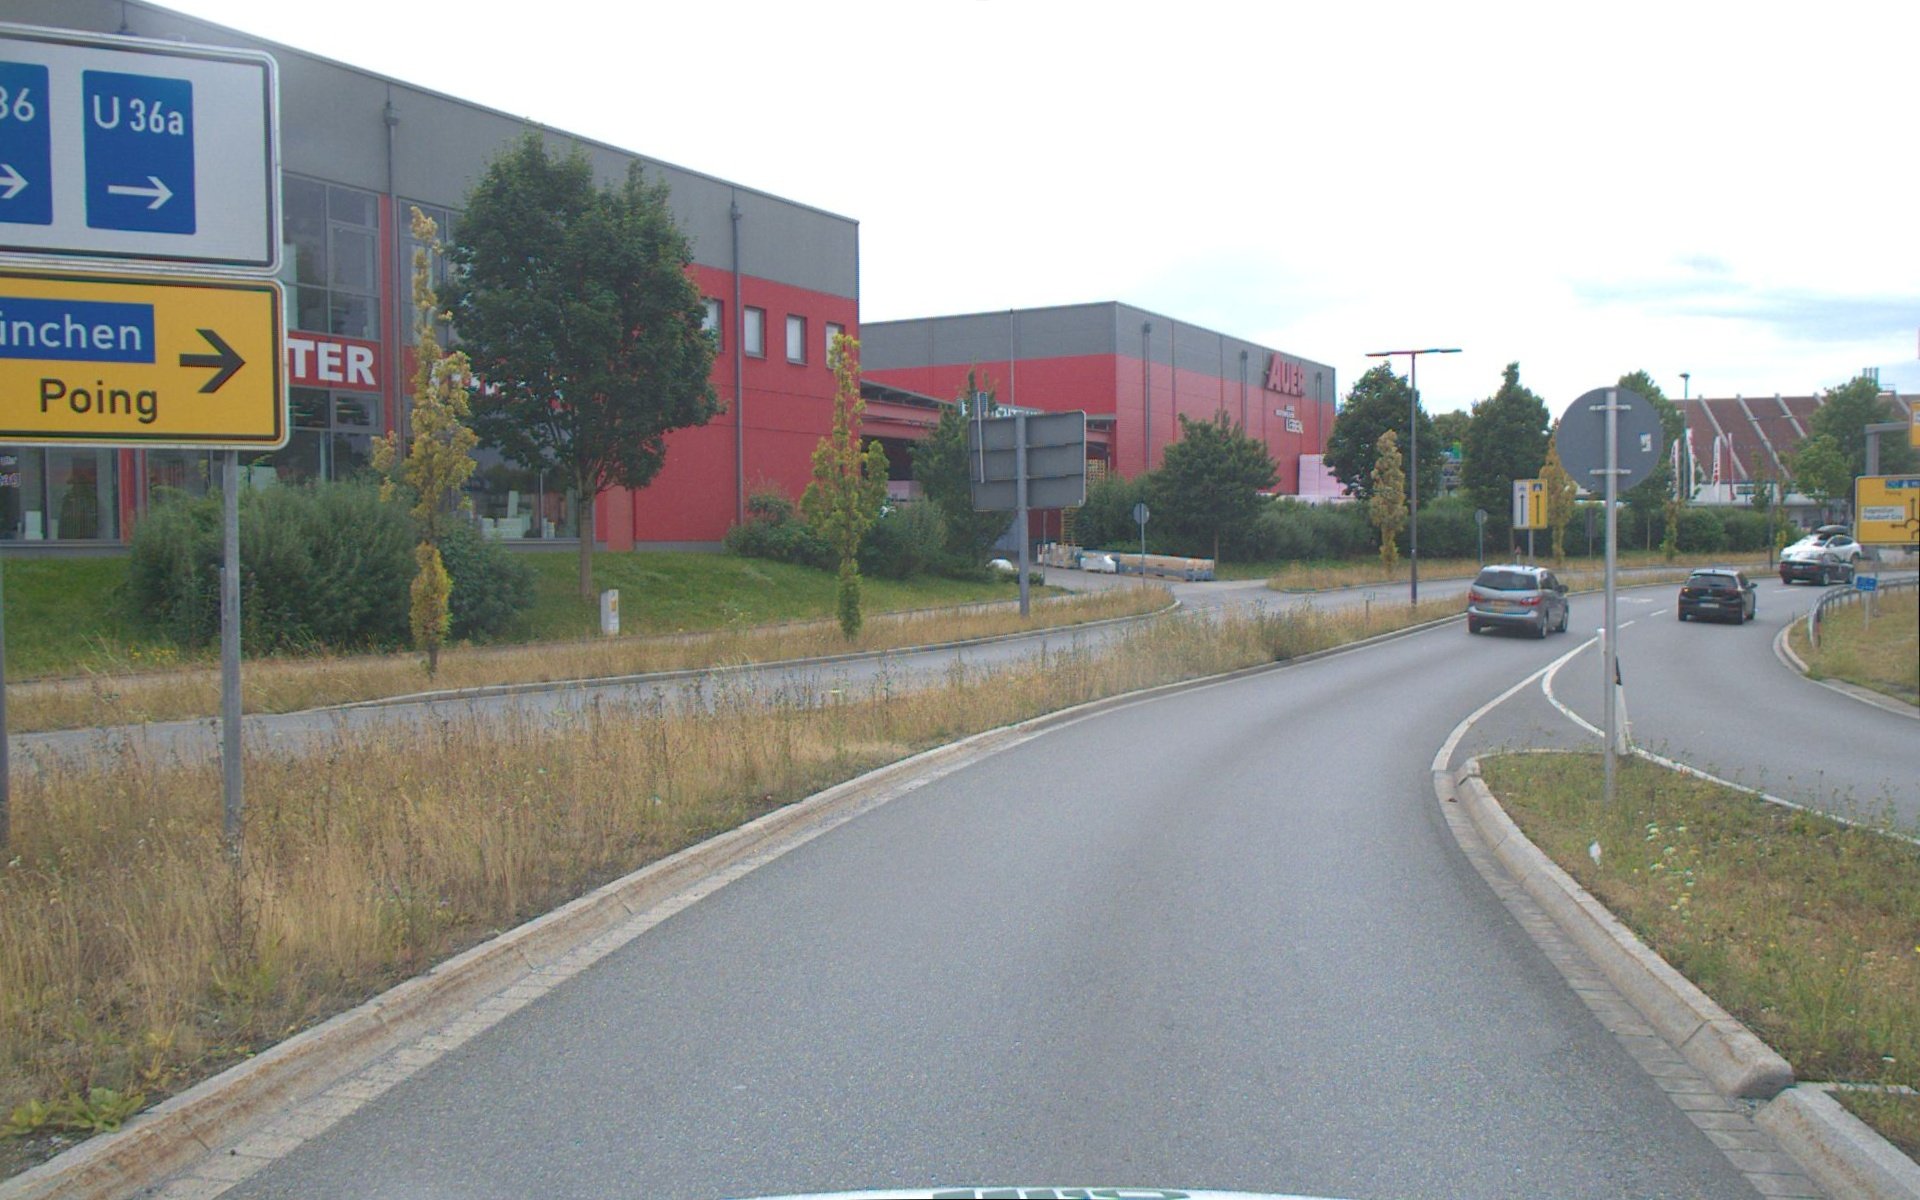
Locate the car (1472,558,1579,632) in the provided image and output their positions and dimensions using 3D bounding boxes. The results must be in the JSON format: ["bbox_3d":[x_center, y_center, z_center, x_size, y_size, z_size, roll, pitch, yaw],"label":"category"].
[{"bbox_3d":[13.479,-0.154,39.299,1.734,1.645,3.915,1,1,29],"label":"car"}]

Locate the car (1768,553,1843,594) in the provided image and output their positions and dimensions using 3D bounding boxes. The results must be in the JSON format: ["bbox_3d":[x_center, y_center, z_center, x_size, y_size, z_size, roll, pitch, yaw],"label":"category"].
[{"bbox_3d":[34.764,-1.100,67.974,1.878,1.646,3.978,1,1,41],"label":"car"}]

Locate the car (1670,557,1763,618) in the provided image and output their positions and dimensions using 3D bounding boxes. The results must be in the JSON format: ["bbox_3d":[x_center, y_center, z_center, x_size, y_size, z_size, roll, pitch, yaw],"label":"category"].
[{"bbox_3d":[21.561,-0.383,47.072,1.836,1.633,3.724,1,1,34],"label":"car"}]

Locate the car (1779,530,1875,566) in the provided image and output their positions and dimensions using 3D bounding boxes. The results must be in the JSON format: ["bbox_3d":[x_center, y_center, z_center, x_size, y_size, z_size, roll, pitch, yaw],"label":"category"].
[{"bbox_3d":[43.284,-2.577,82.571,4.565,1.653,1.900,0,5,-26],"label":"car"}]
